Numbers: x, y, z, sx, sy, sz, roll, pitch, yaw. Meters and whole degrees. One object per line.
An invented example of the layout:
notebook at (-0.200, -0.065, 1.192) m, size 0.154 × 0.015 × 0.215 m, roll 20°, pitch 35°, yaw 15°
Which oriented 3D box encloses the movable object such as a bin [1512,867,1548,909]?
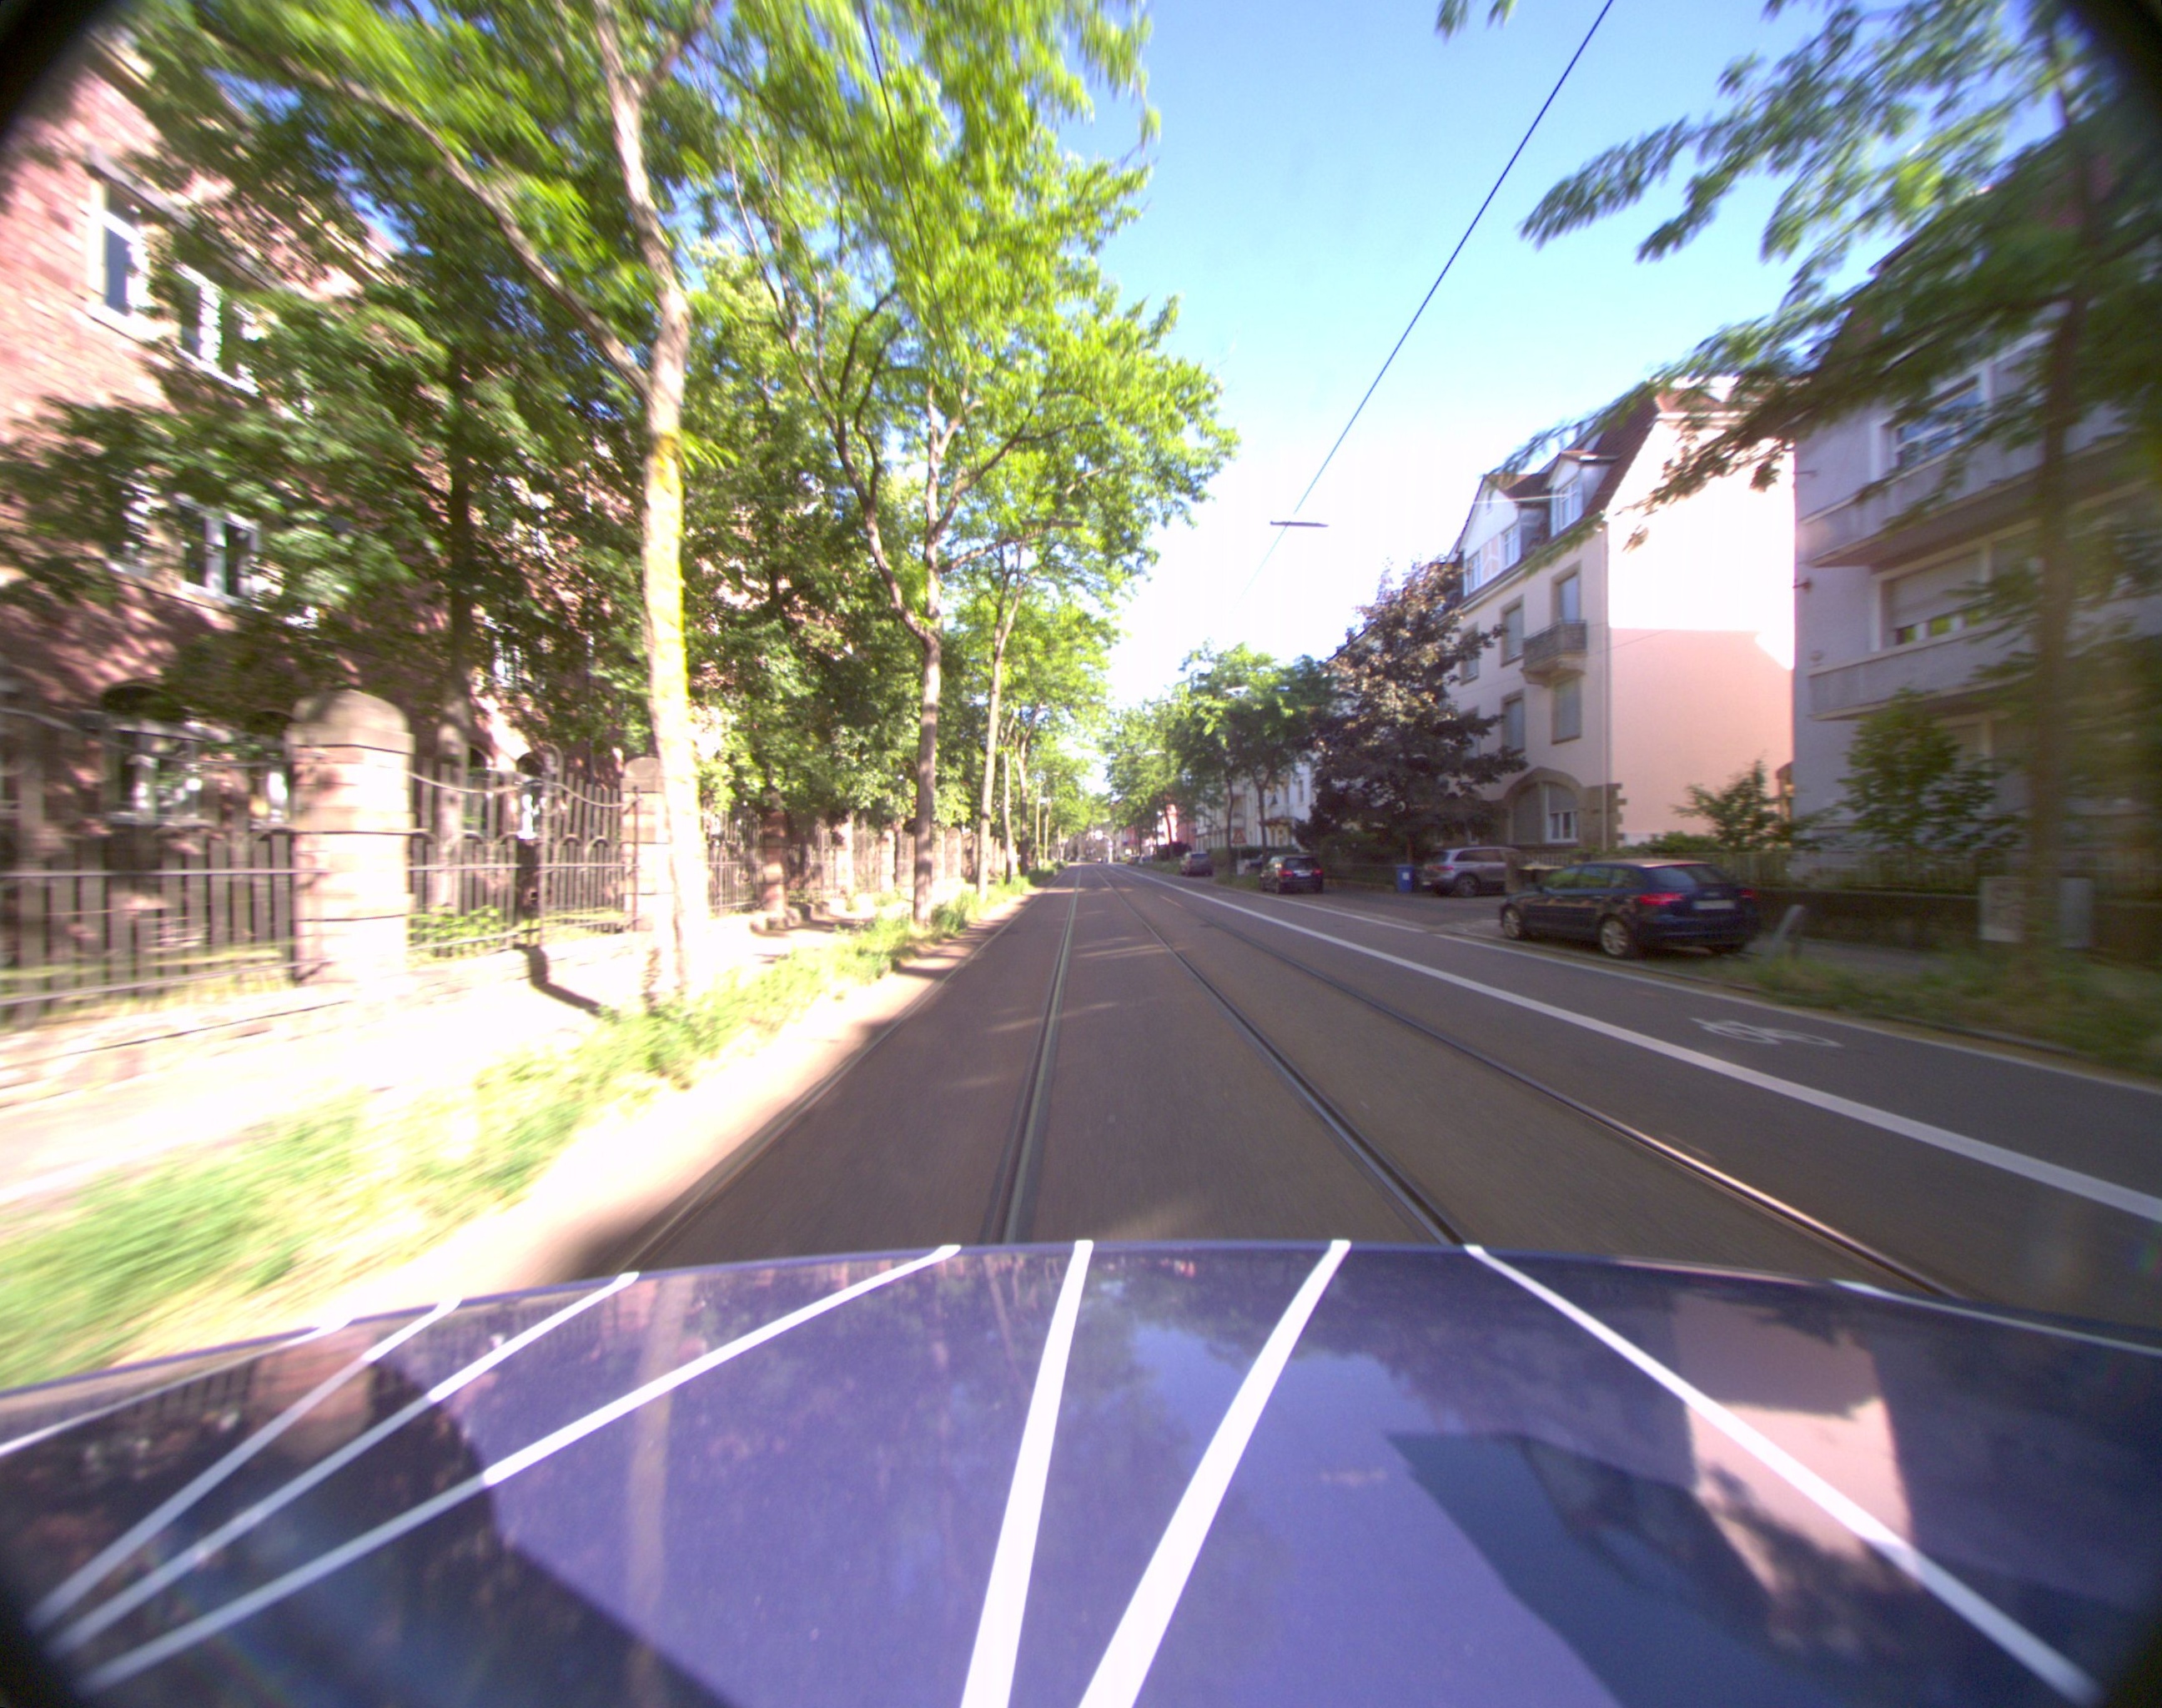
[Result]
movable object such as a bin at (11.744, 0.890, 19.873) m, size 0.542 × 1.060 × 0.670 m, roll -1°, pitch 1°, yaw 0°

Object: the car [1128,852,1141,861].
car at (8.860, 0.469, 125.920) m, size 1.577 × 1.446 × 4.095 m, roll -2°, pitch 0°, yaw -3°

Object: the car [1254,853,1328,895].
car at (8.570, 0.754, 31.406) m, size 1.781 × 1.532 × 4.485 m, roll -2°, pitch 0°, yaw 0°

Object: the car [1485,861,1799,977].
car at (8.449, 0.865, 12.038) m, size 1.710 × 1.398 × 4.333 m, roll -2°, pitch 0°, yaw -1°

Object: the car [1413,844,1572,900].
car at (13.507, 0.573, 25.135) m, size 4.177 × 1.649 × 1.983 m, roll -2°, pitch 0°, yaw -1°

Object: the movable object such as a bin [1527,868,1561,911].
movable object such as a bin at (11.745, 0.899, 19.277) m, size 0.548 × 1.060 × 0.510 m, roll -1°, pitch 1°, yaw 0°

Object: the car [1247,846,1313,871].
car at (14.558, 0.343, 55.704) m, size 4.311 × 1.651 × 1.953 m, roll -2°, pitch 0°, yaw 2°

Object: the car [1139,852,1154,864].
car at (8.993, 0.526, 105.054) m, size 1.629 × 1.526 × 3.689 m, roll -2°, pitch 0°, yaw -1°

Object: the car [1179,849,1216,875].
car at (8.634, 0.545, 56.700) m, size 1.875 × 1.812 × 4.770 m, roll -2°, pitch 0°, yaw -2°

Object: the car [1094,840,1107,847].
car at (4.257, -2.234, 166.819) m, size 1.880 × 1.390 × 3.996 m, roll -4°, pitch 0°, yaw -11°

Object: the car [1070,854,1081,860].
car at (-1.290, 0.730, 185.468) m, size 1.880 × 1.390 × 3.996 m, roll -4°, pitch 0°, yaw -11°

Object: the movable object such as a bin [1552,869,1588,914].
movable object such as a bin at (11.736, 0.889, 18.240) m, size 0.538 × 1.060 × 0.510 m, roll -1°, pitch 1°, yaw 0°

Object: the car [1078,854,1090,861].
car at (0.662, 0.849, 178.365) m, size 1.880 × 1.390 × 3.996 m, roll -4°, pitch 0°, yaw -11°

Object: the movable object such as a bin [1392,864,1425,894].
movable object such as a bin at (11.945, 0.913, 27.725) m, size 0.877 × 1.060 × 0.814 m, roll -1°, pitch 1°, yaw 0°

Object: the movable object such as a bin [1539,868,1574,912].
movable object such as a bin at (11.744, 0.889, 18.761) m, size 0.548 × 1.060 × 0.510 m, roll -1°, pitch 1°, yaw 0°
